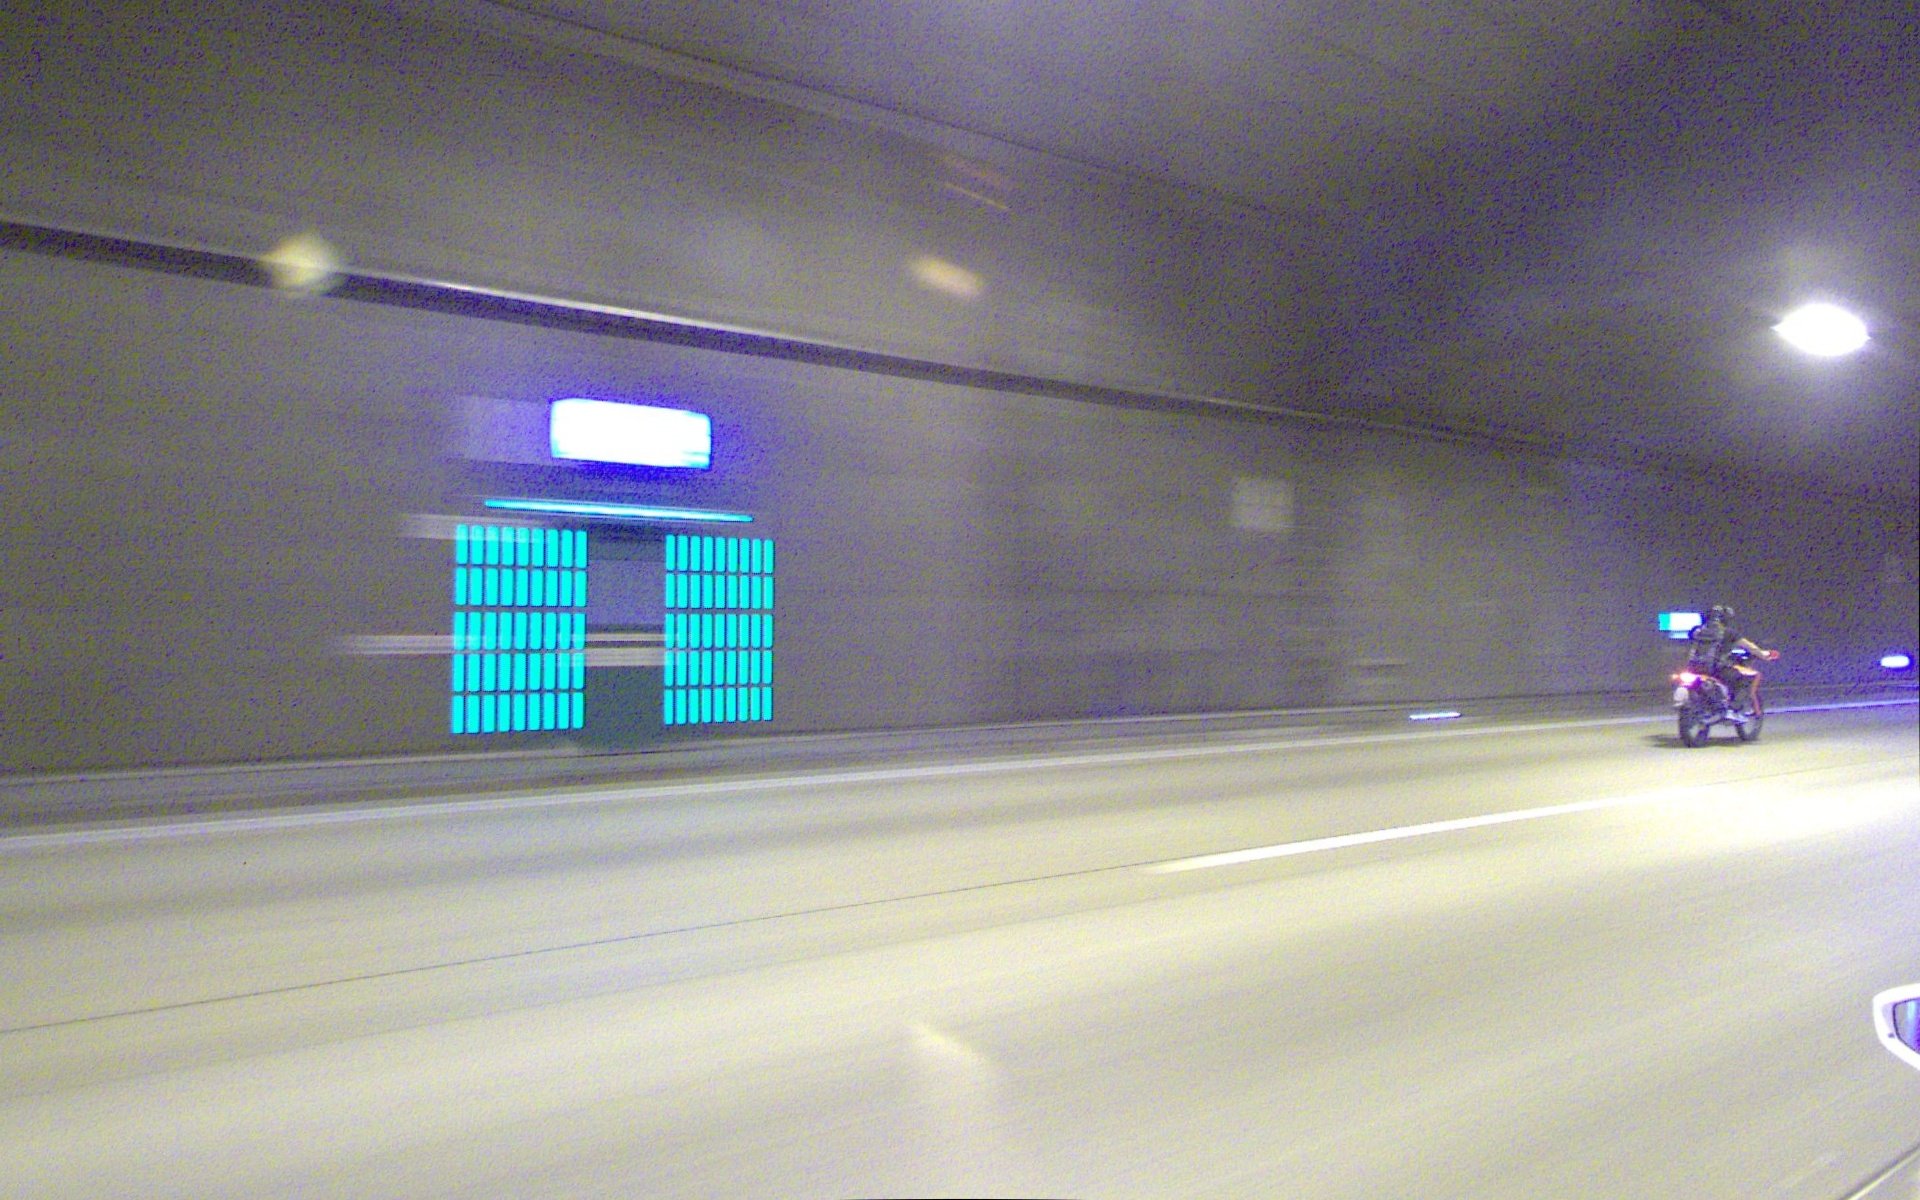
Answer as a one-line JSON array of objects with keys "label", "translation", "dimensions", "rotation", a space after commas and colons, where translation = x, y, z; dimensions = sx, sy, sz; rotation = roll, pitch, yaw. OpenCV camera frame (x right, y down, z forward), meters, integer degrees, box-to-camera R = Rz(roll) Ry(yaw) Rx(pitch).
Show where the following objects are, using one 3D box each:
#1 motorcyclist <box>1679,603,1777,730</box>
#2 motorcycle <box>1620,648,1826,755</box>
[{"label": "motorcyclist", "translation": [9.503, 0.805, 12.435], "dimensions": [0.878, 1.509, 0.625], "rotation": [1, -1, -25]}, {"label": "motorcycle", "translation": [9.380, 1.191, 12.345], "dimensions": [2.395, 1.173, 1.050], "rotation": [1, -1, -26]}]
